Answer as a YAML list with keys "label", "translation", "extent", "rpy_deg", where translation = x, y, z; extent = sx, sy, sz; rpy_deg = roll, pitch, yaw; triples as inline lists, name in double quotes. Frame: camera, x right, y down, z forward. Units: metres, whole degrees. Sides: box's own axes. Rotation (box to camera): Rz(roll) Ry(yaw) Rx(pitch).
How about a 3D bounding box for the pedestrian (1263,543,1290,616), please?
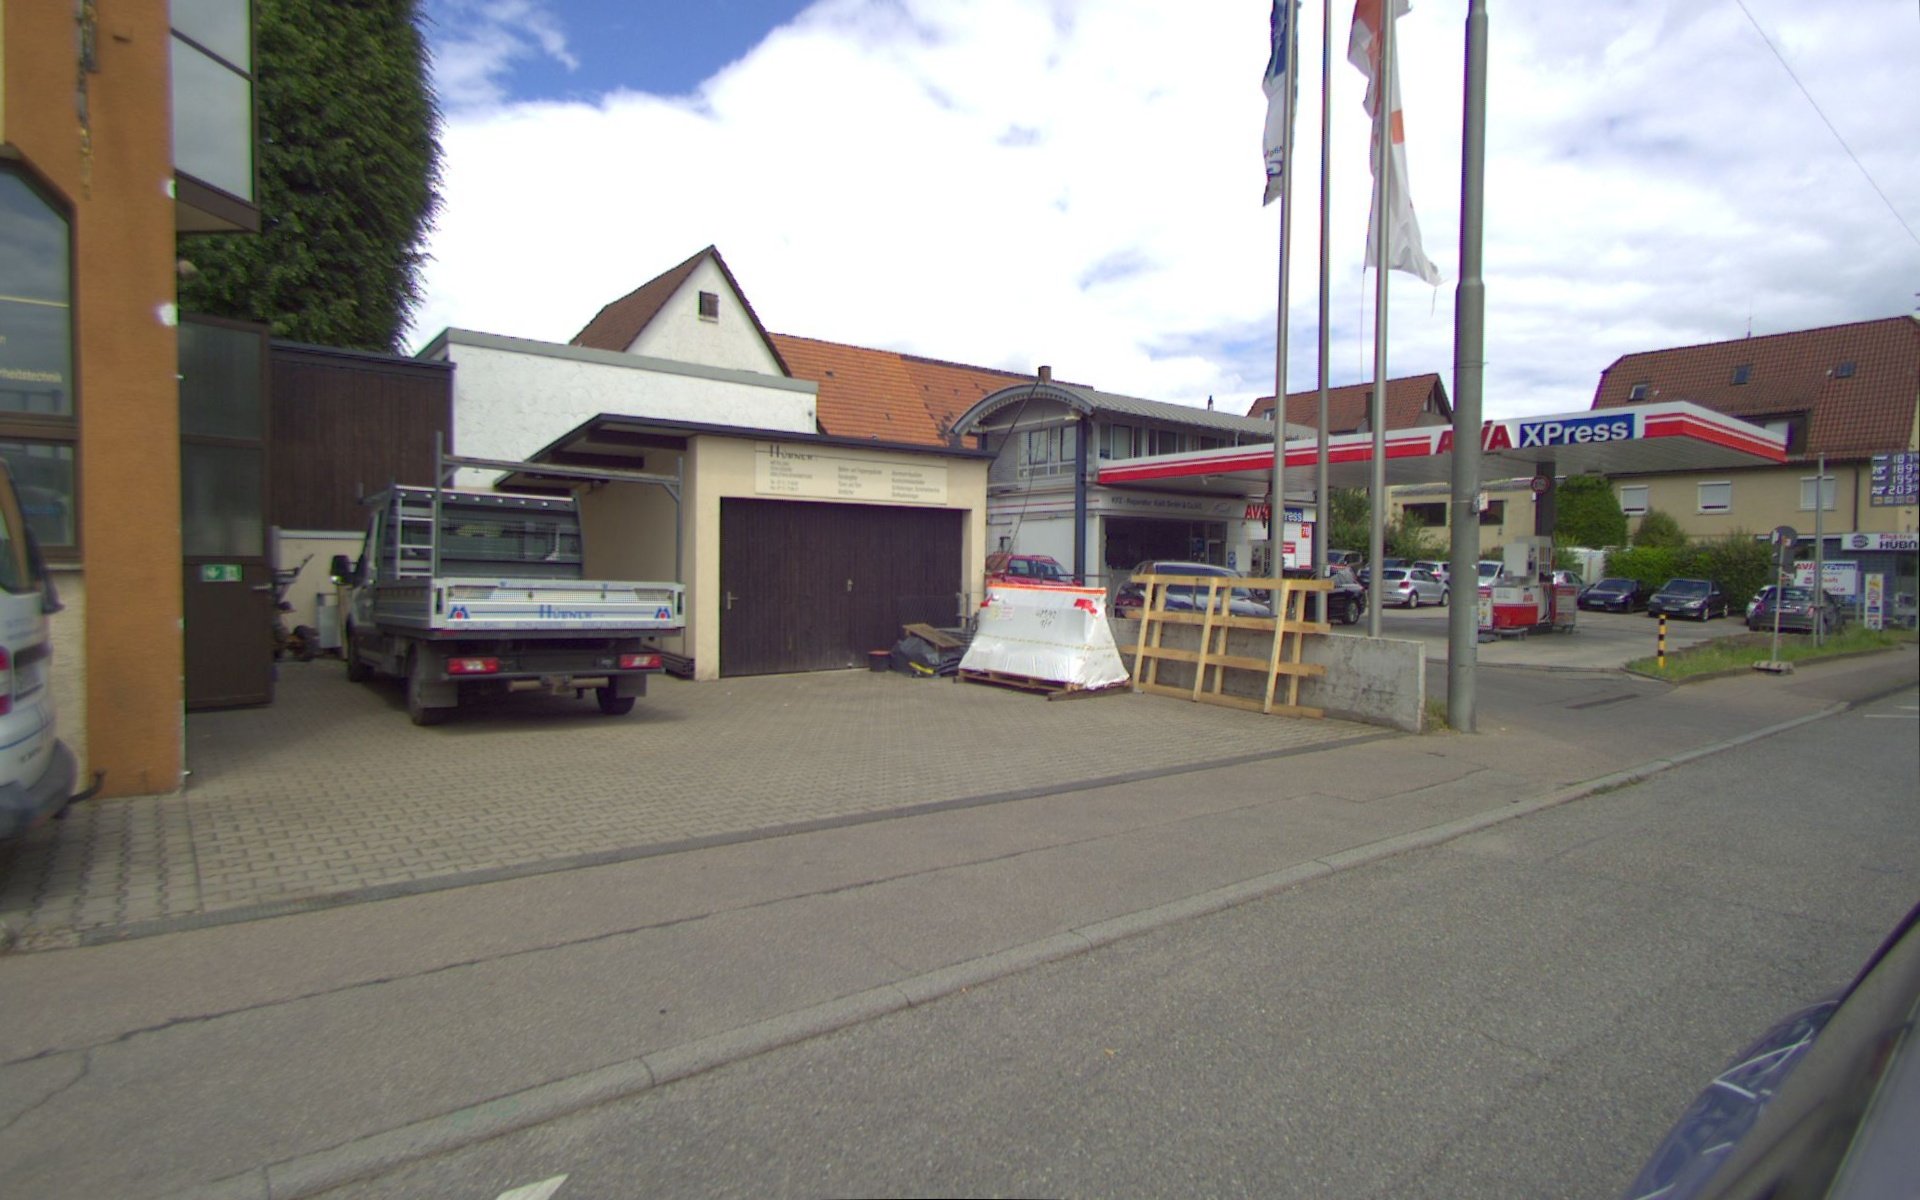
- label: "pedestrian"
  translation: [8.656, -0.555, 27.662]
  extent: [0.530, 1.960, 0.587]
  rpy_deg: [-1, 0, -2]

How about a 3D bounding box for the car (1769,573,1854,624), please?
- label: "car"
  translation: [30.193, -0.100, 35.856]
  extent: [4.132, 1.546, 1.638]
  rpy_deg: [-2, 6, -42]

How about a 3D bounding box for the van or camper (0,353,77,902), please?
- label: "van or camper"
  translation: [-5.780, 0.133, 3.170]
  extent: [4.467, 2.057, 1.870]
  rpy_deg: [-1, 1, -40]

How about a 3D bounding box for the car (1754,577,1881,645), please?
- label: "car"
  translation: [24.033, 0.261, 28.321]
  extent: [4.081, 1.613, 1.622]
  rpy_deg: [0, 7, -36]

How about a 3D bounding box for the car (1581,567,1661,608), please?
- label: "car"
  translation: [25.791, -0.524, 39.448]
  extent: [3.683, 1.388, 1.640]
  rpy_deg: [-2, 6, -42]

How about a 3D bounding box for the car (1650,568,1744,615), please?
- label: "car"
  translation: [27.464, -0.366, 37.652]
  extent: [4.575, 1.560, 1.716]
  rpy_deg: [-2, 6, -41]

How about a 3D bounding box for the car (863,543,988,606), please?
- label: "car"
  translation: [-1.037, -0.737, 28.449]
  extent: [1.590, 1.458, 3.756]
  rpy_deg: [5, 1, -36]

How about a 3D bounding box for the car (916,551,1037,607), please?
- label: "car"
  translation: [0.463, -0.697, 30.870]
  extent: [1.684, 1.477, 3.753]
  rpy_deg: [-4, 6, -39]

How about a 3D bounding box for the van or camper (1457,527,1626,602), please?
- label: "van or camper"
  translation: [26.091, -1.655, 45.640]
  extent: [2.488, 2.884, 5.973]
  rpy_deg: [0, 6, -41]

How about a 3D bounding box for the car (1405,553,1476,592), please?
- label: "car"
  translation: [21.451, -1.237, 45.130]
  extent: [3.439, 1.587, 1.571]
  rpy_deg: [-2, 6, -42]

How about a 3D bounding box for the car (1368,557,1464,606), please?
- label: "car"
  translation: [16.868, -0.722, 37.427]
  extent: [3.680, 1.518, 1.636]
  rpy_deg: [-4, 8, -37]

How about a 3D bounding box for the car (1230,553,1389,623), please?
- label: "car"
  translation: [8.949, -0.345, 25.737]
  extent: [4.488, 1.628, 1.634]
  rpy_deg: [-2, 2, -38]

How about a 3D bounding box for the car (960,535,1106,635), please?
- label: "car"
  translation: [1.413, -0.374, 21.615]
  extent: [1.787, 1.737, 4.619]
  rpy_deg: [5, 1, -11]

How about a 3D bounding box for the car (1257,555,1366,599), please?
- label: "car"
  translation: [13.628, -0.930, 39.383]
  extent: [1.591, 1.477, 3.757]
  rpy_deg: [-3, 6, -35]

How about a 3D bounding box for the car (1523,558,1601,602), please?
- label: "car"
  translation: [24.761, -0.857, 41.589]
  extent: [3.683, 1.604, 1.641]
  rpy_deg: [-2, 6, -42]

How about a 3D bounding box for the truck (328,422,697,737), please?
- label: "truck"
  translation: [-4.960, -0.189, 10.705]
  extent: [2.314, 2.488, 5.100]
  rpy_deg: [2, 0, -38]

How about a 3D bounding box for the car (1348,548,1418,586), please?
- label: "car"
  translation: [19.689, -1.553, 47.059]
  extent: [3.439, 1.587, 1.571]
  rpy_deg: [-2, 6, -42]

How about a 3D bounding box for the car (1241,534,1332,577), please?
- label: "car"
  translation: [16.398, -2.238, 50.730]
  extent: [5.049, 1.940, 1.923]
  rpy_deg: [-2, 6, -42]

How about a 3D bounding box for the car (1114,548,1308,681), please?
- label: "car"
  translation: [3.696, 0.085, 15.728]
  extent: [1.603, 1.650, 4.325]
  rpy_deg: [3, 3, -4]

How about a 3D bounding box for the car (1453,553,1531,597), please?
- label: "car"
  translation: [22.876, -1.099, 43.465]
  extent: [3.979, 1.702, 1.571]
  rpy_deg: [-2, 6, -42]

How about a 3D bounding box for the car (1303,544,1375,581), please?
- label: "car"
  translation: [18.404, -1.811, 49.081]
  extent: [3.884, 1.651, 1.571]
  rpy_deg: [-2, 6, -42]
